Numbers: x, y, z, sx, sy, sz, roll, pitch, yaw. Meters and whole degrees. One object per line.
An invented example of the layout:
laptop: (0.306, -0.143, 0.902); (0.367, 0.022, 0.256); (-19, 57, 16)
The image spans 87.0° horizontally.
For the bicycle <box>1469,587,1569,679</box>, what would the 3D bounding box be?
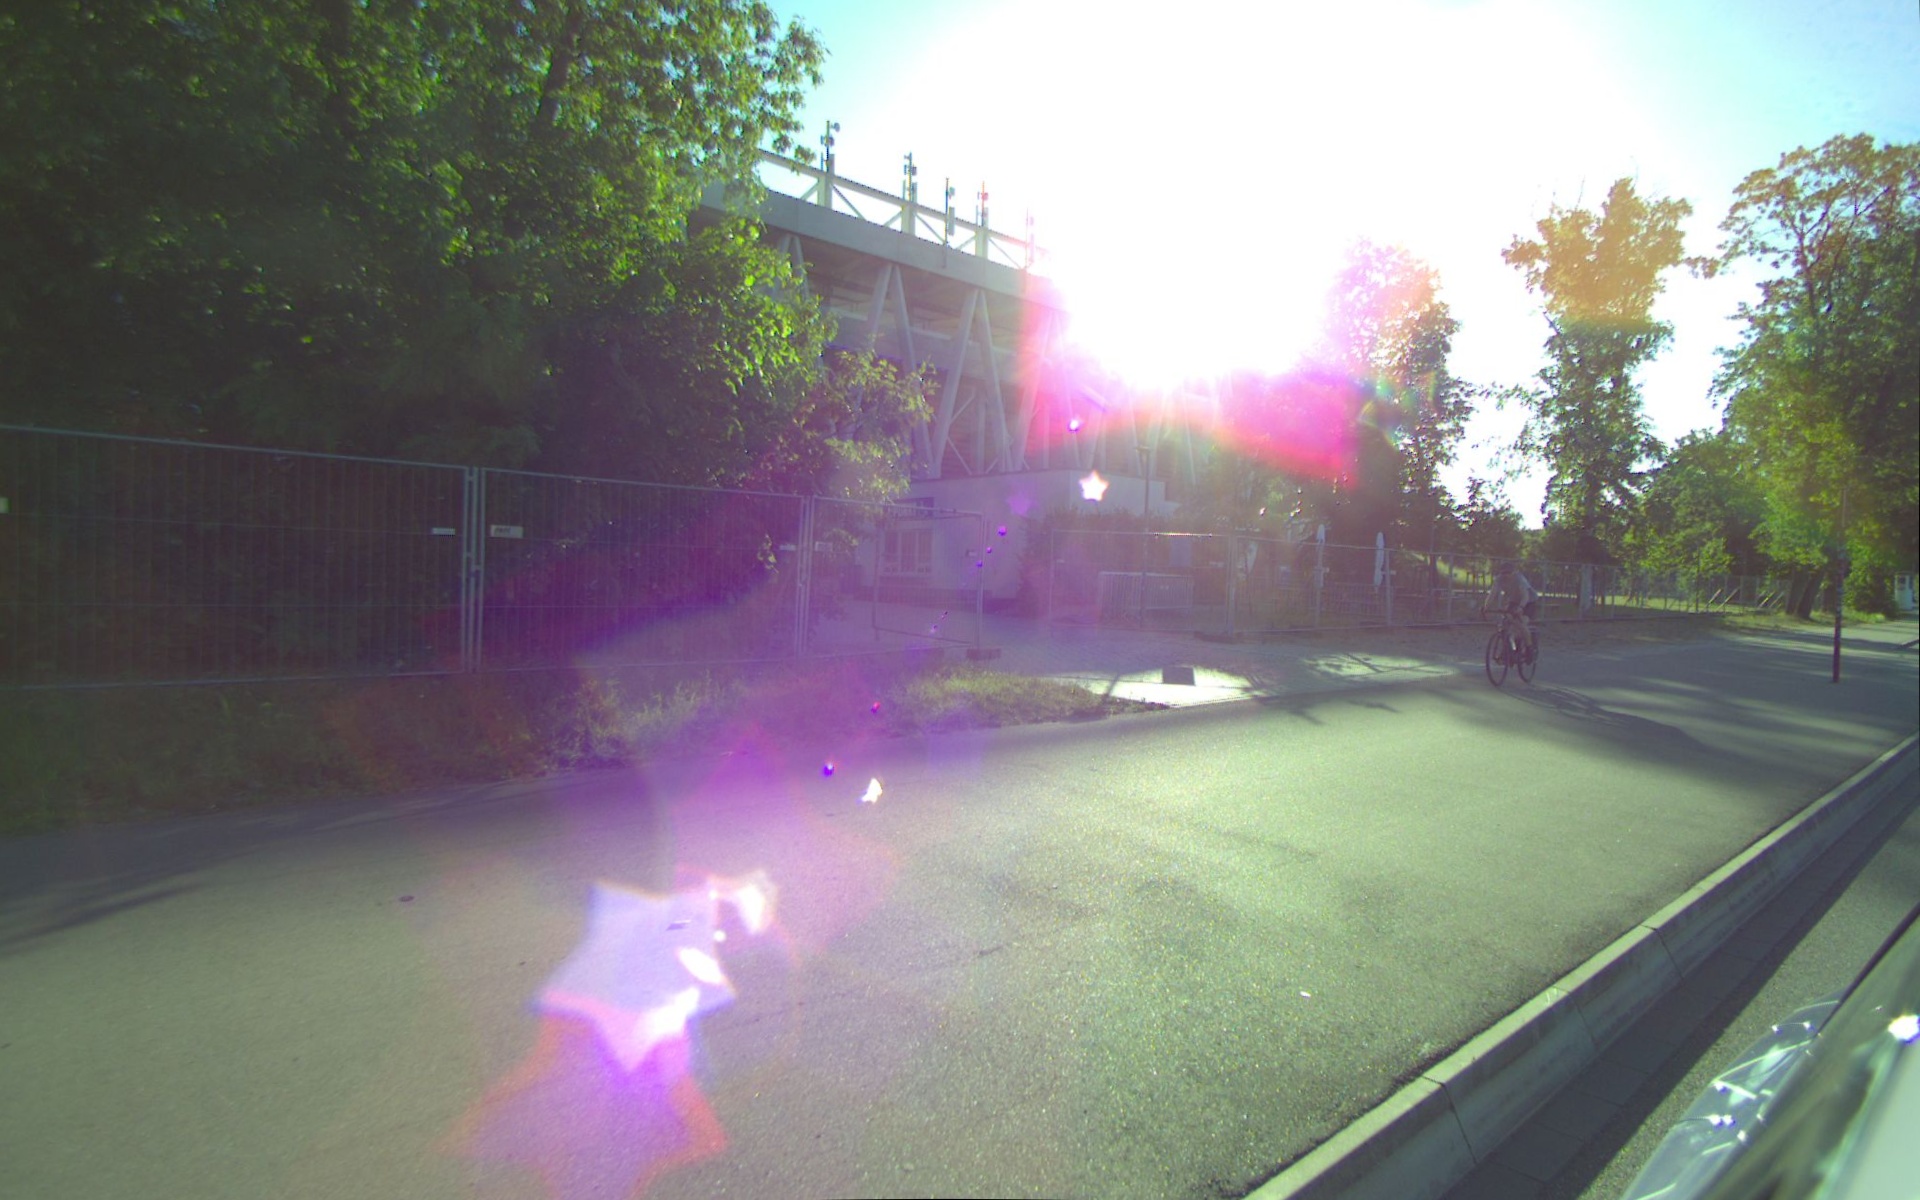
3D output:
bicycle: (7.632, 0.410, 13.777); (1.831, 1.151, 0.555); (0, 3, -41)

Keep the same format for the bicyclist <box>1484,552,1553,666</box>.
bicyclist: (7.570, 0.104, 13.708); (0.846, 1.487, 0.521); (0, 2, -41)
